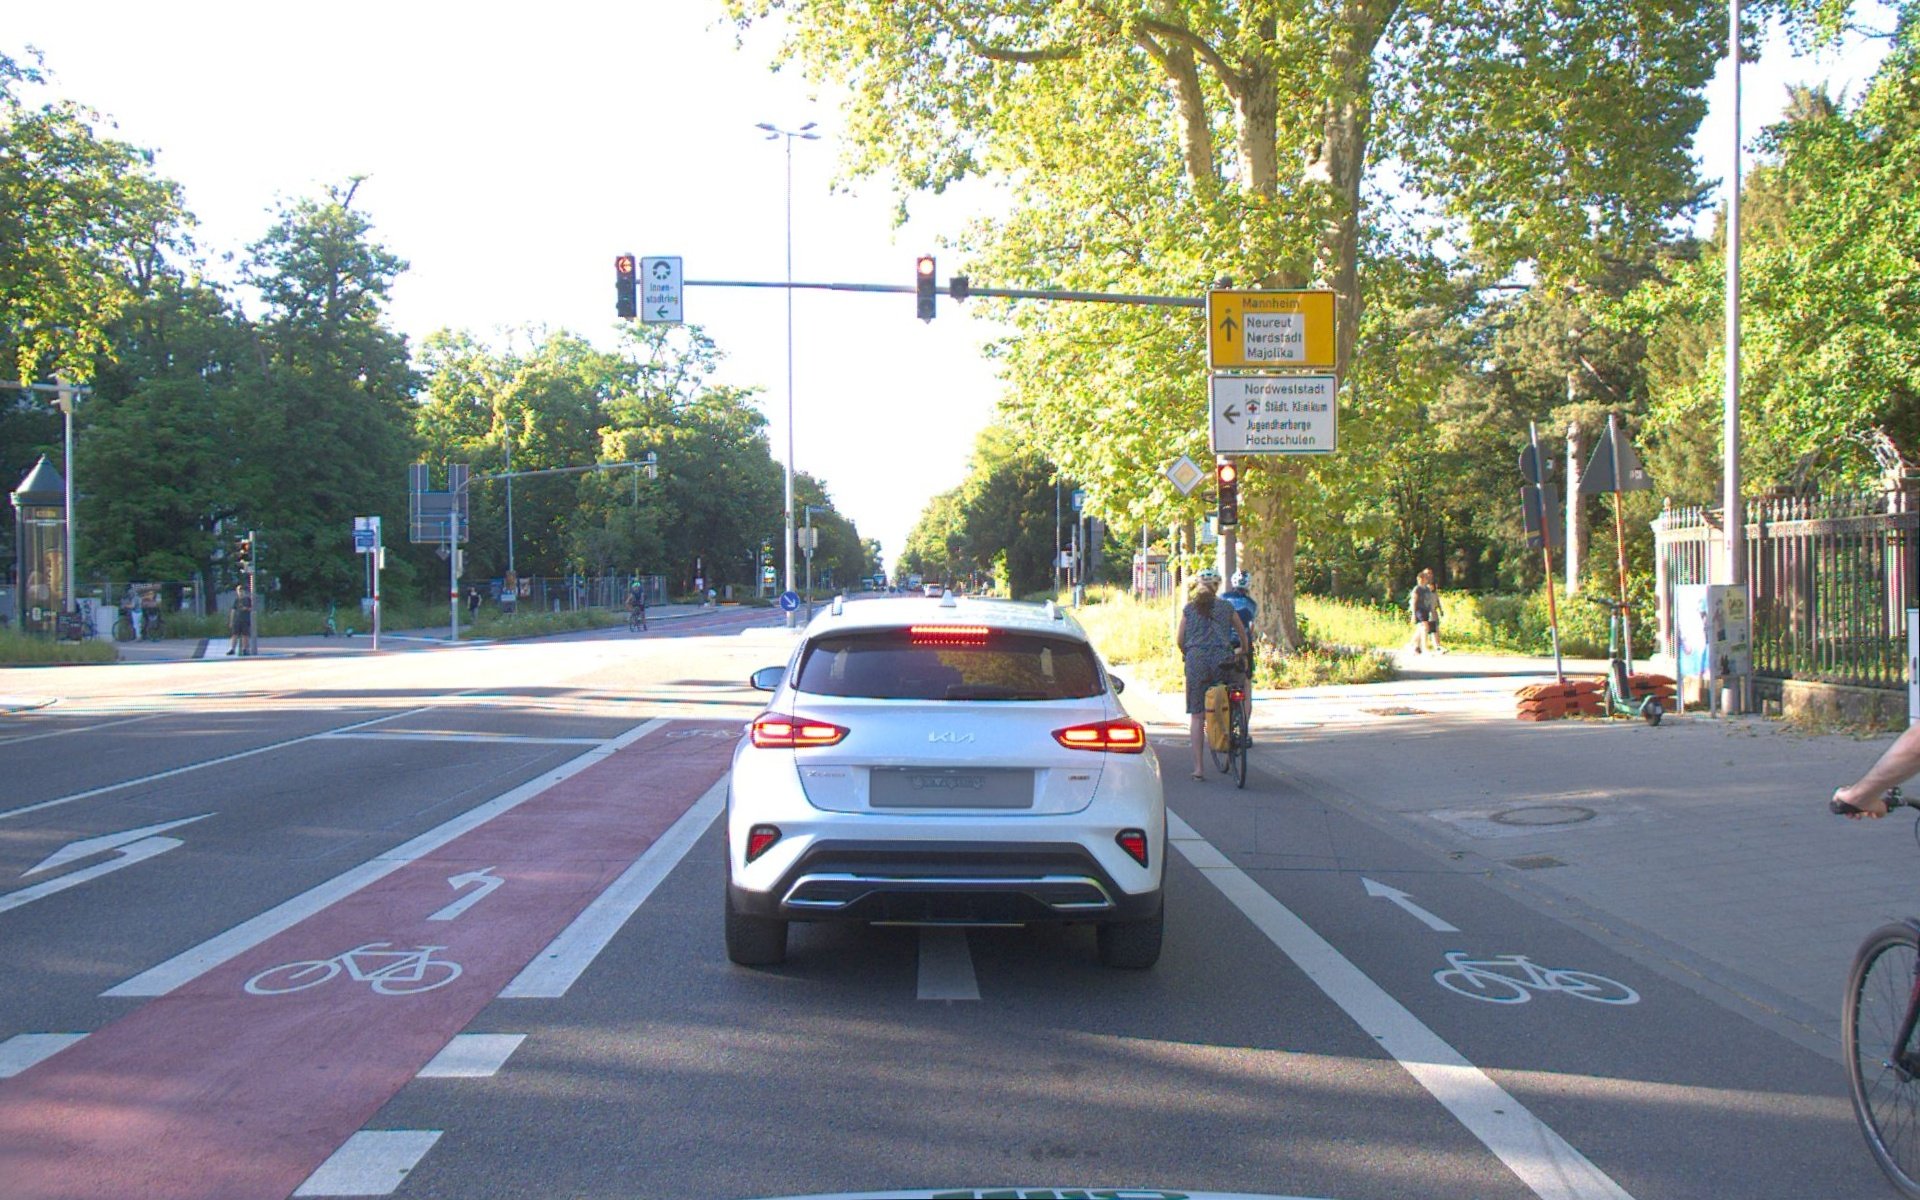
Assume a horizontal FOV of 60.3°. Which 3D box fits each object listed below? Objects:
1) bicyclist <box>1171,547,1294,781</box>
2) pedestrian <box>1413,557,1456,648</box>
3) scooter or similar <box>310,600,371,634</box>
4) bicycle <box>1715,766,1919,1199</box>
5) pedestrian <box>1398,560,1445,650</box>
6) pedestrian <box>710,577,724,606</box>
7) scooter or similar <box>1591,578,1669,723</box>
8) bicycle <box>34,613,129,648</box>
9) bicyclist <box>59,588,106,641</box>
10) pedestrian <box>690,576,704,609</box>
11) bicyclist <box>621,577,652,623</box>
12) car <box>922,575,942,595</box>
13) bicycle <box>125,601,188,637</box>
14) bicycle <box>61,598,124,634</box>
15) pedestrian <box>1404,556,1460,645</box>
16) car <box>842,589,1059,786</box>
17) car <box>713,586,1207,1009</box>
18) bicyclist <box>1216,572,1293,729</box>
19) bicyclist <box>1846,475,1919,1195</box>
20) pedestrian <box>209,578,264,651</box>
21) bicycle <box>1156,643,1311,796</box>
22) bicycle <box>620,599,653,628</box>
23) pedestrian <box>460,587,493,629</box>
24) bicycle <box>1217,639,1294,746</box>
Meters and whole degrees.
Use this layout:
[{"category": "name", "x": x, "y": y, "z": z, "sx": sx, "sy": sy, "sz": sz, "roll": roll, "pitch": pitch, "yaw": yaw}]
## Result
[{"category": "bicyclist", "x": 2.218, "y": 0.500, "z": 13.585, "sx": 0.738, "sy": 1.827, "sz": 1.164, "roll": 1, "pitch": 0, "yaw": -2}, {"category": "pedestrian", "x": 9.535, "y": 0.048, "z": 33.262, "sx": 0.604, "sy": 1.802, "sz": 0.646, "roll": -1, "pitch": 0, "yaw": -8}, {"category": "scooter or similar", "x": -20.924, "y": 0.570, "z": 55.899, "sx": 0.697, "sy": 1.144, "sz": 1.916, "roll": 0, "pitch": 0, "yaw": 32}, {"category": "bicycle", "x": 2.505, "y": 0.999, "z": 3.649, "sx": 0.655, "sy": 1.027, "sz": 2.080, "roll": 1, "pitch": 1, "yaw": -2}, {"category": "pedestrian", "x": 9.094, "y": 0.095, "z": 32.626, "sx": 0.676, "sy": 1.729, "sz": 0.643, "roll": -1, "pitch": 0, "yaw": -7}, {"category": "pedestrian", "x": -15.462, "y": -0.548, "z": 105.379, "sx": 0.769, "sy": 1.817, "sz": 0.751, "roll": 0, "pitch": 0, "yaw": 0}, {"category": "scooter or similar", "x": 6.495, "y": 0.464, "z": 16.072, "sx": 0.223, "sy": 1.350, "sz": 1.171, "roll": -1, "pitch": 0, "yaw": -2}, {"category": "bicycle", "x": -27.549, "y": 0.955, "z": 51.886, "sx": 2.650, "sy": 1.006, "sz": 0.581, "roll": -1, "pitch": 0, "yaw": -1}, {"category": "bicyclist", "x": -27.518, "y": 0.445, "z": 51.882, "sx": 0.954, "sy": 1.634, "sz": 0.878, "roll": -1, "pitch": 0, "yaw": 0}, {"category": "pedestrian", "x": -16.630, "y": -0.460, "z": 104.690, "sx": 0.627, "sy": 2.049, "sz": 0.754, "roll": 0, "pitch": 0, "yaw": 11}, {"category": "bicyclist", "x": -11.851, "y": -0.015, "z": 60.653, "sx": 0.857, "sy": 1.636, "sz": 1.188, "roll": -1, "pitch": 0, "yaw": 1}, {"category": "car", "x": -2.892, "y": -1.542, "z": 171.798, "sx": 1.953, "sy": 2.049, "sz": 3.999, "roll": -1, "pitch": 1, "yaw": -1}, {"category": "bicycle", "x": -26.011, "y": 0.607, "z": 53.578, "sx": 1.826, "sy": 1.168, "sz": 0.290, "roll": 0, "pitch": 0, "yaw": -8}, {"category": "bicycle", "x": -28.235, "y": 0.520, "z": 53.860, "sx": 1.823, "sy": 1.168, "sz": 0.443, "roll": 0, "pitch": 0, "yaw": 1}, {"category": "pedestrian", "x": 9.688, "y": 0.006, "z": 33.969, "sx": 0.802, "sy": 1.802, "sz": 0.831, "roll": -1, "pitch": 0, "yaw": -8}, {"category": "car", "x": -0.146, "y": 0.680, "z": 14.895, "sx": 1.694, "sy": 1.509, "sz": 3.515, "roll": -1, "pitch": 1, "yaw": -3}, {"category": "car", "x": -0.067, "y": 0.690, "z": 7.937, "sx": 1.785, "sy": 1.506, "sz": 3.935, "roll": 0, "pitch": 1, "yaw": -2}, {"category": "bicyclist", "x": 2.933, "y": 0.494, "z": 16.522, "sx": 0.543, "sy": 1.504, "sz": 0.716, "roll": -3, "pitch": 0, "yaw": -2}, {"category": "bicyclist", "x": 2.508, "y": 0.535, "z": 3.680, "sx": 0.652, "sy": 1.630, "sz": 0.720, "roll": 1, "pitch": 0, "yaw": -2}, {"category": "pedestrian", "x": -20.505, "y": 0.403, "z": 46.894, "sx": 0.974, "sy": 2.049, "sz": 1.191, "roll": 0, "pitch": 0, "yaw": 4}, {"category": "bicycle", "x": 2.204, "y": 0.931, "z": 13.675, "sx": 0.742, "sy": 1.031, "sz": 2.568, "roll": 1, "pitch": 1, "yaw": -2}, {"category": "bicycle", "x": -11.842, "y": 0.490, "z": 60.607, "sx": 0.650, "sy": 1.006, "sz": 2.504, "roll": -1, "pitch": 1, "yaw": 1}, {"category": "pedestrian", "x": -18.962, "y": 0.305, "z": 64.839, "sx": 1.067, "sy": 1.631, "sz": 0.999, "roll": -1, "pitch": 0, "yaw": -7}, {"category": "bicycle", "x": 2.957, "y": 0.906, "z": 16.644, "sx": 0.393, "sy": 0.973, "sz": 1.550, "roll": -3, "pitch": 0, "yaw": -2}]
